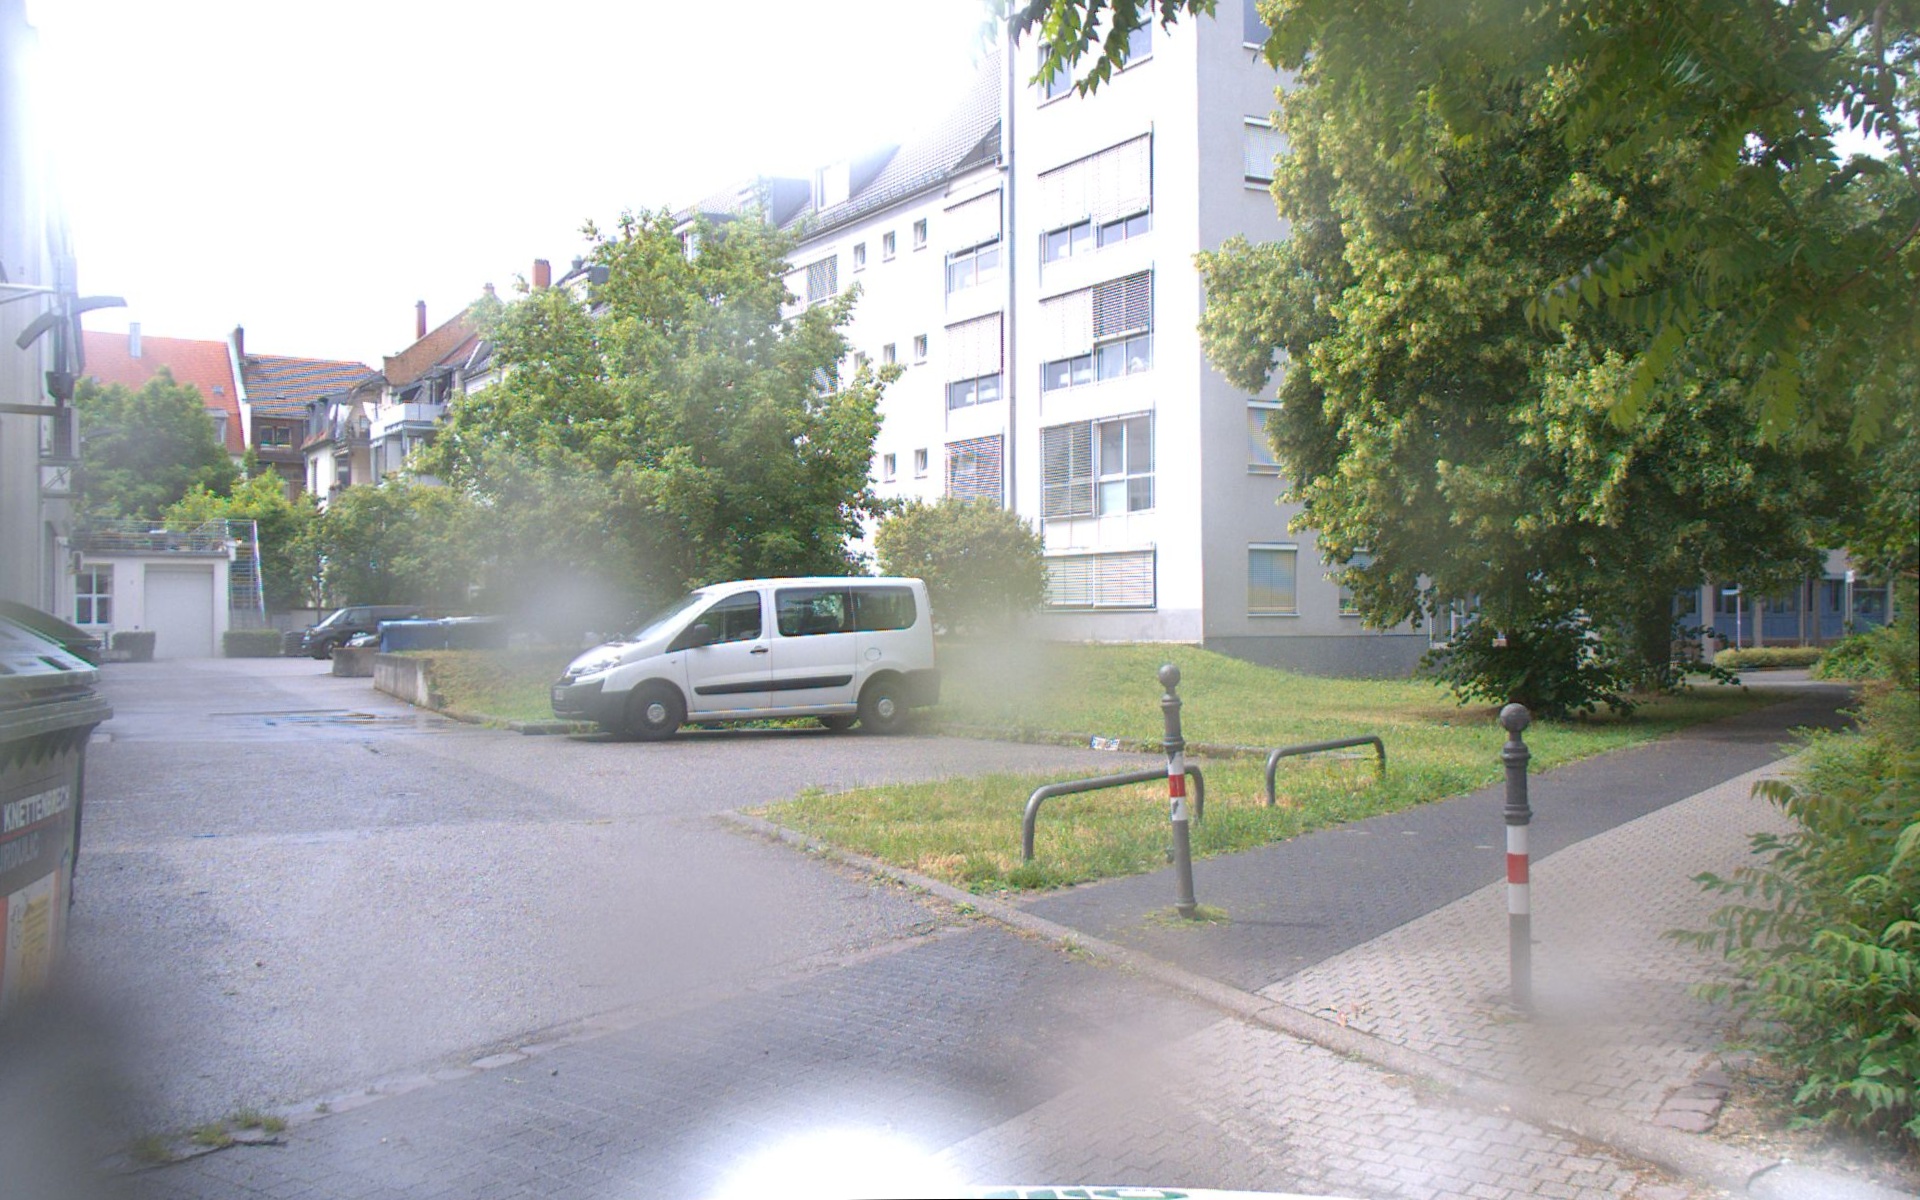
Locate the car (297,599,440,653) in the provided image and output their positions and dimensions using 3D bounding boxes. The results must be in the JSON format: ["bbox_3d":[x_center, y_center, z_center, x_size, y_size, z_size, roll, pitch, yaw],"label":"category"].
[{"bbox_3d":[-22.149,0.959,61.990,4.670,1.865,2.085,-2,0,-35],"label":"car"}]

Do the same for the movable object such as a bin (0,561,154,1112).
[{"bbox_3d":[-3.217,0.633,4.986,1.344,1.496,1.451,1,-1,-28],"label":"movable object such as a bin"}]

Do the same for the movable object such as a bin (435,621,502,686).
[{"bbox_3d":[-10.645,1.150,35.828,1.216,1.340,1.046,-1,0,-28],"label":"movable object such as a bin"}]

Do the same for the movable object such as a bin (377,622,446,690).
[{"bbox_3d":[-11.140,1.135,33.595,1.161,1.340,1.046,1,-1,-28],"label":"movable object such as a bin"}]

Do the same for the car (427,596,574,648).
[{"bbox_3d":[-14.183,0.666,51.104,4.059,1.481,1.813,-1,0,-32],"label":"car"}]

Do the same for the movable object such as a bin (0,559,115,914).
[{"bbox_3d":[-4.588,0.570,7.454,1.344,1.496,1.353,1,-1,-28],"label":"movable object such as a bin"}]

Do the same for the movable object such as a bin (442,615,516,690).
[{"bbox_3d":[-9.957,1.072,34.221,1.260,1.509,1.091,1,-1,-28],"label":"movable object such as a bin"}]

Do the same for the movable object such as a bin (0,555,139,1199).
[{"bbox_3d":[-2.587,0.650,3.574,1.393,1.496,1.546,1,-1,-28],"label":"movable object such as a bin"}]

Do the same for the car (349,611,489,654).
[{"bbox_3d":[-18.760,1.099,57.407,4.317,1.372,1.838,-1,0,-35],"label":"car"}]

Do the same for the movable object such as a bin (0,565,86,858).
[{"bbox_3d":[-5.491,0.562,8.905,1.344,1.496,1.353,1,-1,-28],"label":"movable object such as a bin"}]

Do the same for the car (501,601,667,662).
[{"bbox_3d":[-9.919,0.811,43.700,3.943,1.378,1.774,-3,0,-29],"label":"car"}]

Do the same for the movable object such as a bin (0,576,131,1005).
[{"bbox_3d":[-3.910,0.658,6.241,1.344,1.496,1.339,1,-1,-28],"label":"movable object such as a bin"}]

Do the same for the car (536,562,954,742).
[{"bbox_3d":[-2.682,0.617,20.781,4.873,2.049,1.984,0,-1,-25],"label":"car"}]
